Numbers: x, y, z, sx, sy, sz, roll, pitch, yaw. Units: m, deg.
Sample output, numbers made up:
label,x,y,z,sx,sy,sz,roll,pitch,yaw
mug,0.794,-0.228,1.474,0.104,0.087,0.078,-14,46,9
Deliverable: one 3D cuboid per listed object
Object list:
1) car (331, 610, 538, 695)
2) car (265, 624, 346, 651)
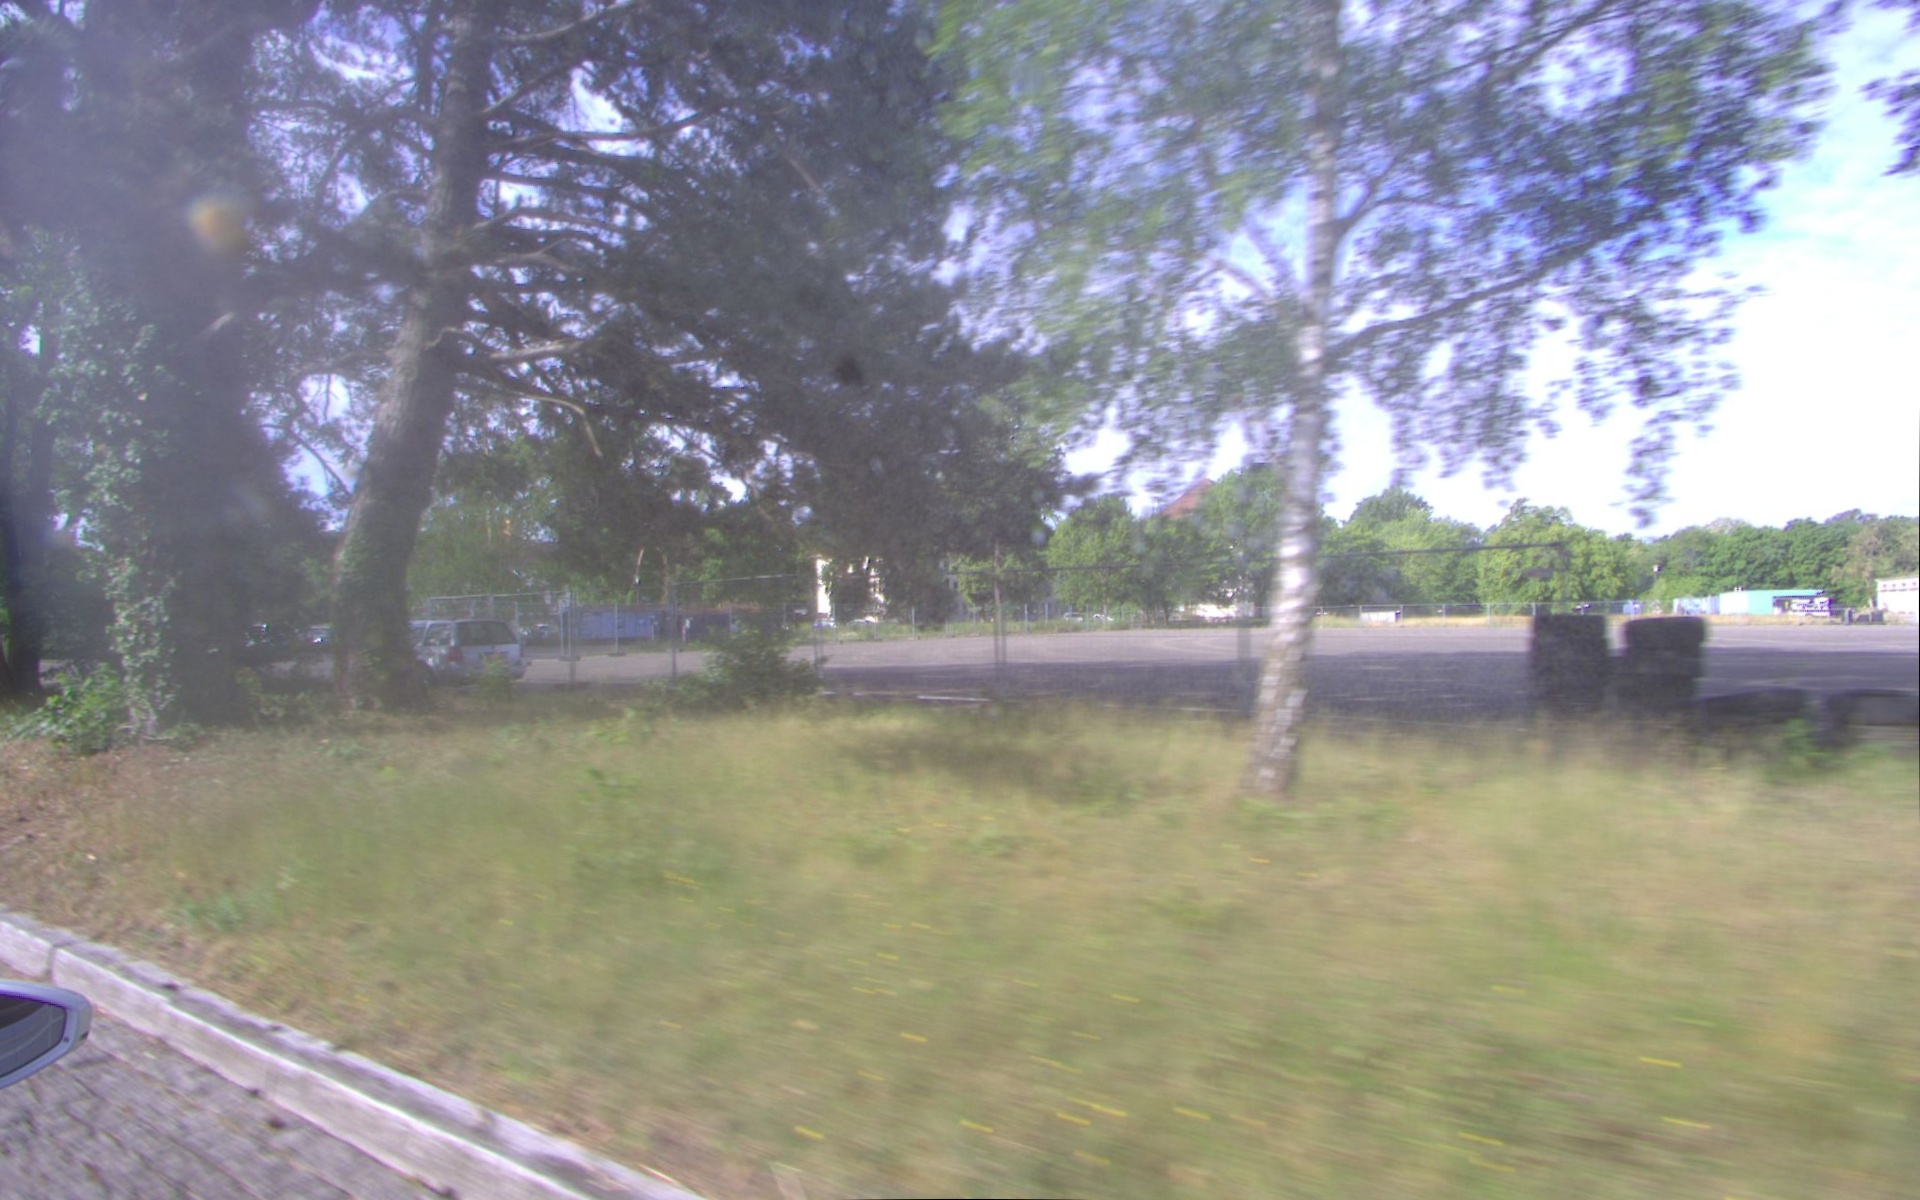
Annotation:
label,x,y,z,sx,sy,sz,roll,pitch,yaw
car,-10.162,0.966,19.326,3.939,1.487,1.665,-1,0,29
car,-34.104,1.948,52.140,4.266,1.328,1.730,-1,-2,29
